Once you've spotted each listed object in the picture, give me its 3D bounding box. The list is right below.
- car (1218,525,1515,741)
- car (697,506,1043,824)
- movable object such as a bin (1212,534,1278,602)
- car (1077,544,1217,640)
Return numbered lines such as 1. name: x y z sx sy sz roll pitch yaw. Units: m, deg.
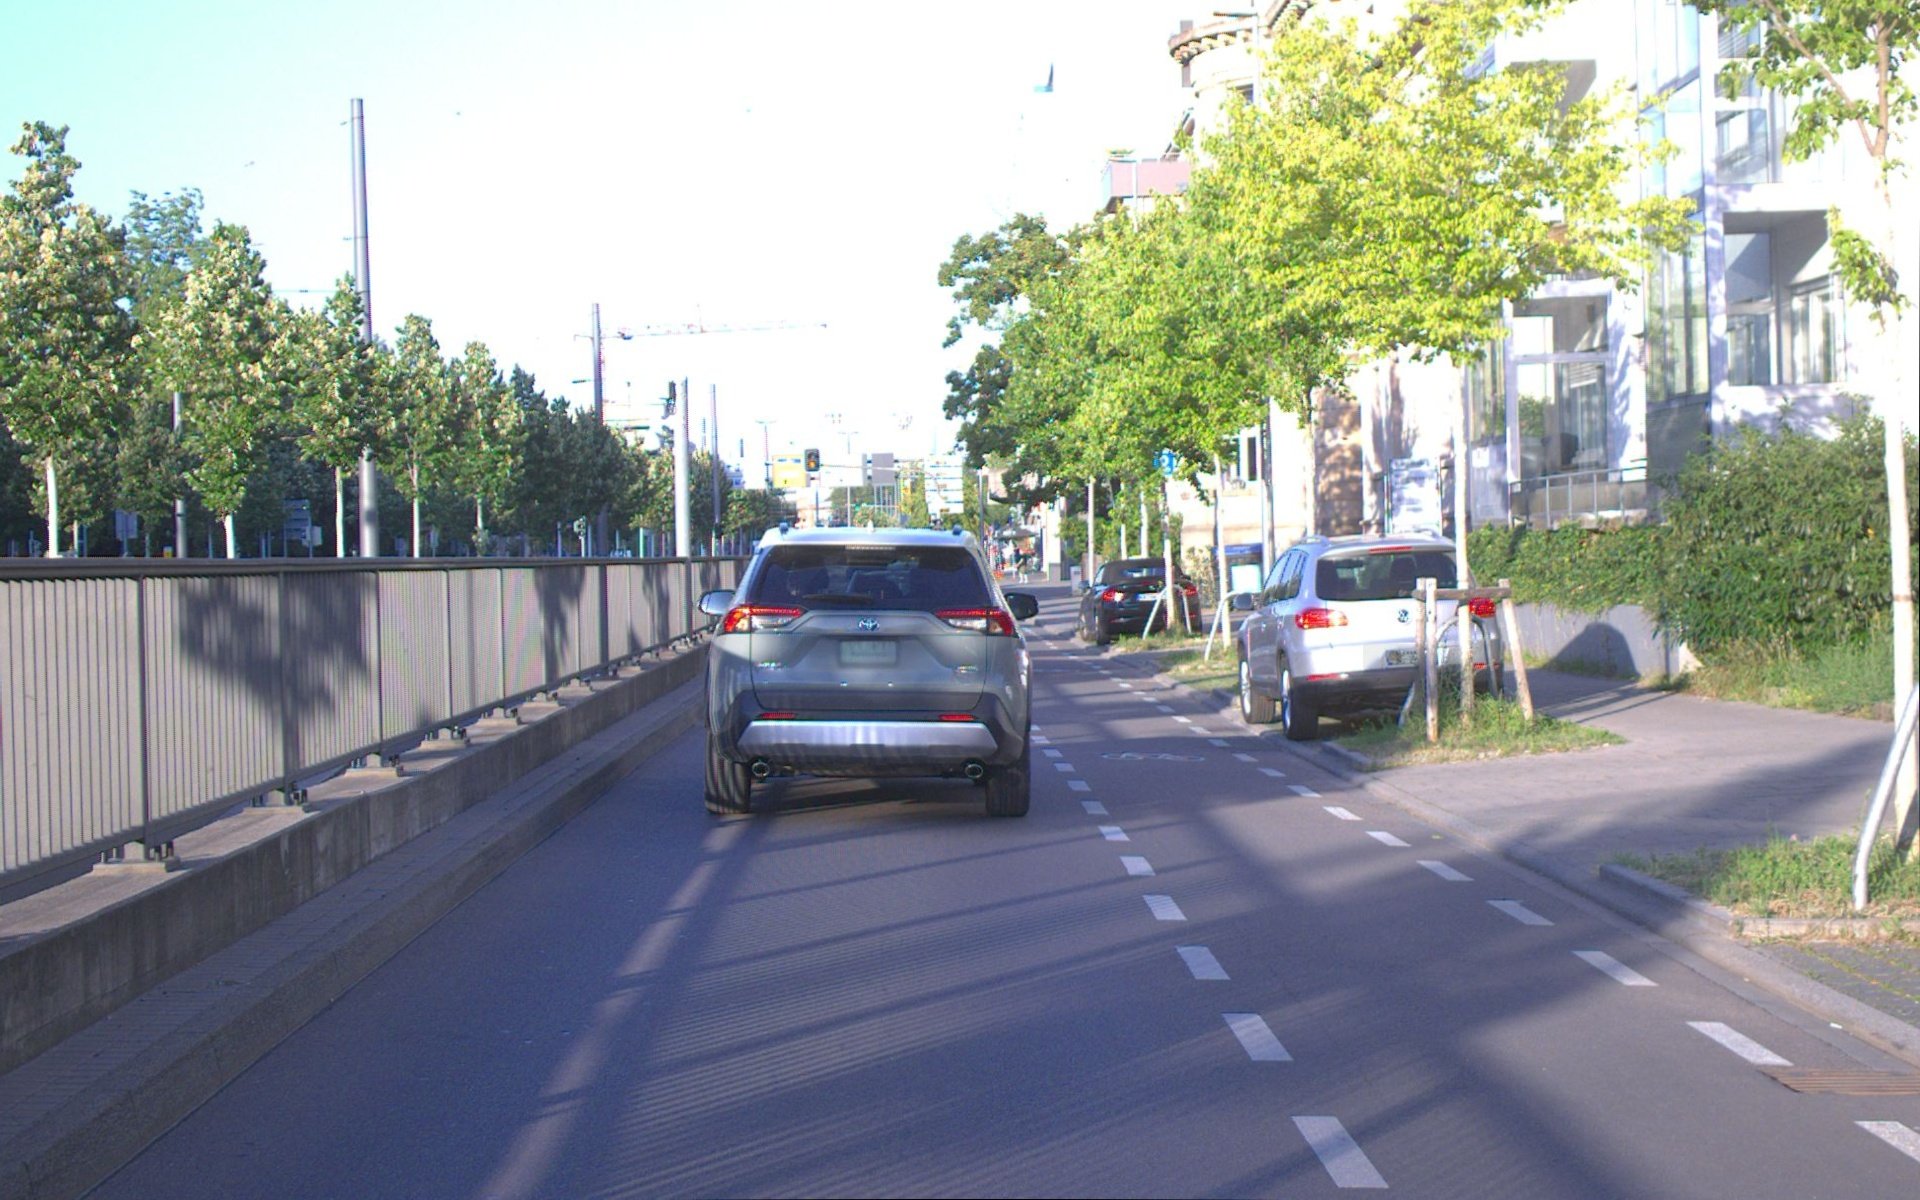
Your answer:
1. car: 3.433 0.222 29.805 1.854 1.701 4.255 -1 1 -3
2. car: -0.585 0.330 20.788 1.857 1.708 4.193 1 1 -3
3. movable object such as a bin: 6.213 -0.704 74.969 1.260 1.457 1.124 -1 1 -4
4. car: 3.165 -0.166 58.920 1.792 1.466 4.446 -4 1 -4
